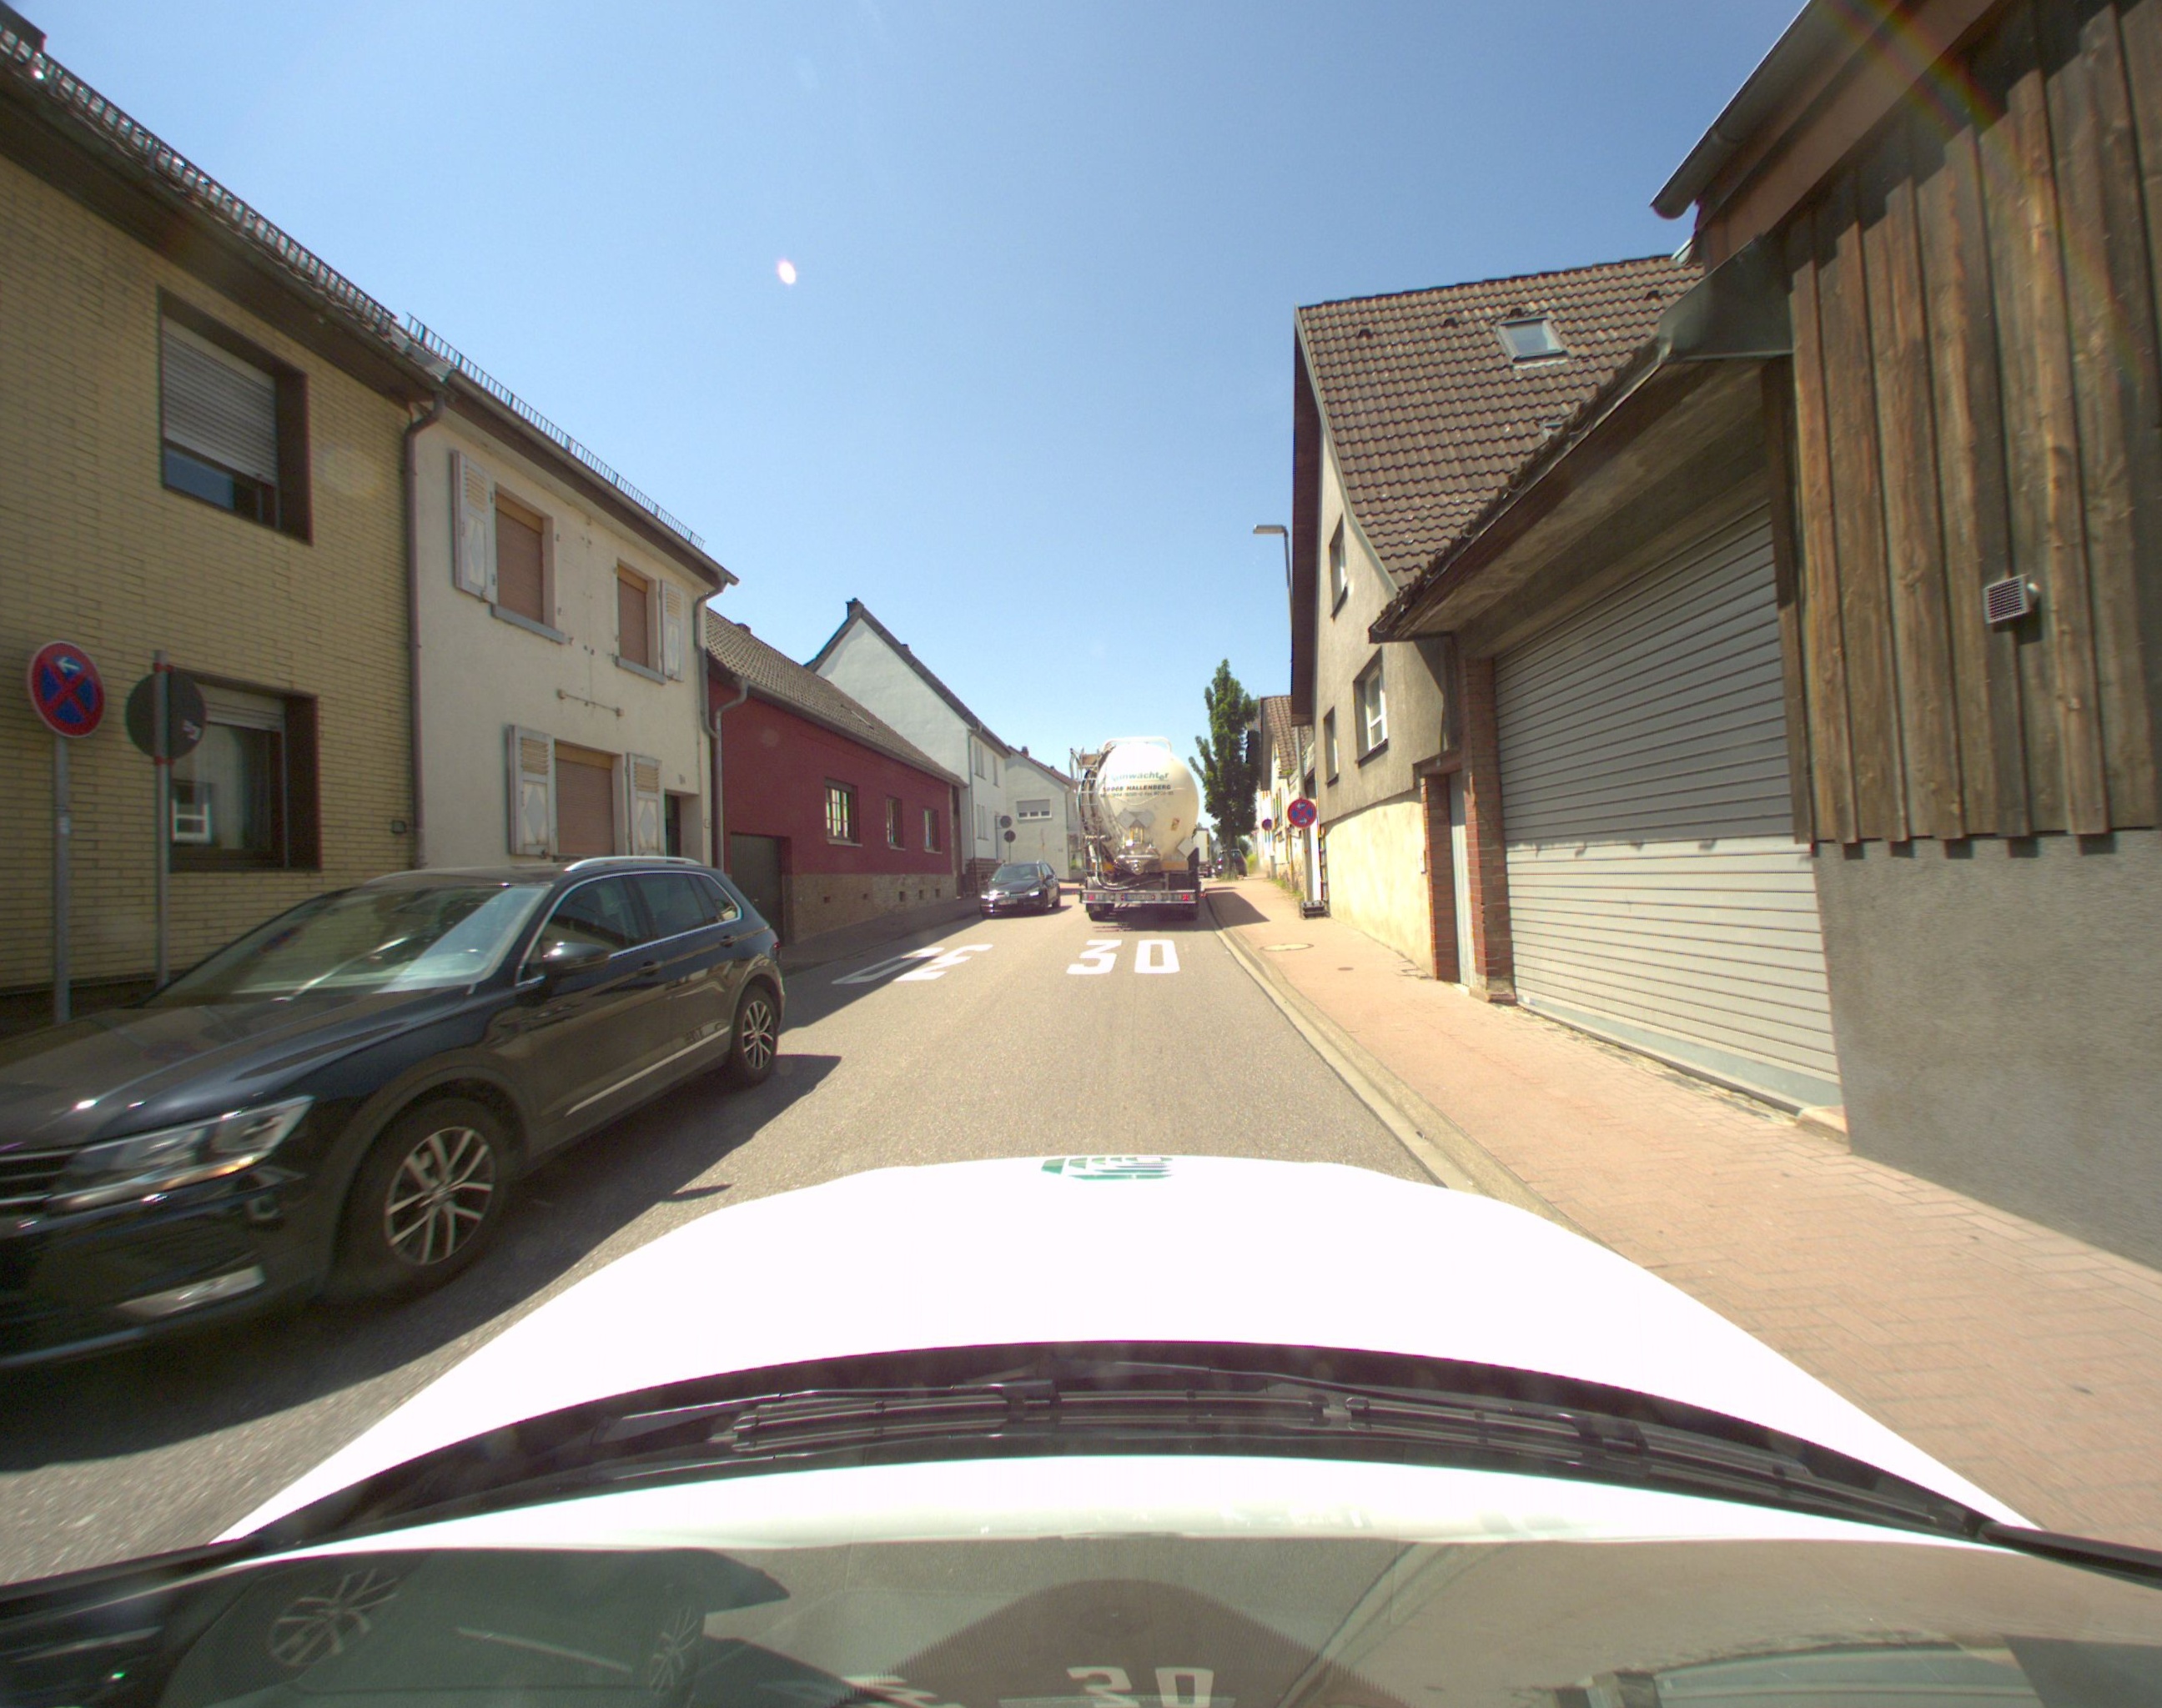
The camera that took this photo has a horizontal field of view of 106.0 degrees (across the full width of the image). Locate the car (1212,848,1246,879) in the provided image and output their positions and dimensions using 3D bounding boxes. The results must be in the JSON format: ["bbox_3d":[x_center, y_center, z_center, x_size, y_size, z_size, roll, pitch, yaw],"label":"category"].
[{"bbox_3d":[8.960,0.573,49.085,1.791,1.614,4.561,-5,-1,11],"label":"car"}]

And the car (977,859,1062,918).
[{"bbox_3d":[-1.658,0.917,23.277,1.687,1.409,4.205,-4,0,5],"label":"car"}]

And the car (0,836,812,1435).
[{"bbox_3d":[-3.214,0.826,4.426,1.804,1.609,4.340,-4,0,2],"label":"car"}]

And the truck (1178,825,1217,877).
[{"bbox_3d":[10.045,-0.274,69.764,2.946,4.069,9.306,-2,0,9],"label":"truck"}]

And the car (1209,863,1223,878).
[{"bbox_3d":[20.210,2.471,122.167,1.935,1.970,4.796,-4,-2,9],"label":"car"}]

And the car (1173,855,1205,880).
[{"bbox_3d":[7.169,0.904,53.746,1.690,1.447,4.850,-6,-2,10],"label":"car"}]

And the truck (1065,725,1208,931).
[{"bbox_3d":[1.564,-0.491,19.928,2.718,3.960,8.157,-1,0,7],"label":"truck"}]
